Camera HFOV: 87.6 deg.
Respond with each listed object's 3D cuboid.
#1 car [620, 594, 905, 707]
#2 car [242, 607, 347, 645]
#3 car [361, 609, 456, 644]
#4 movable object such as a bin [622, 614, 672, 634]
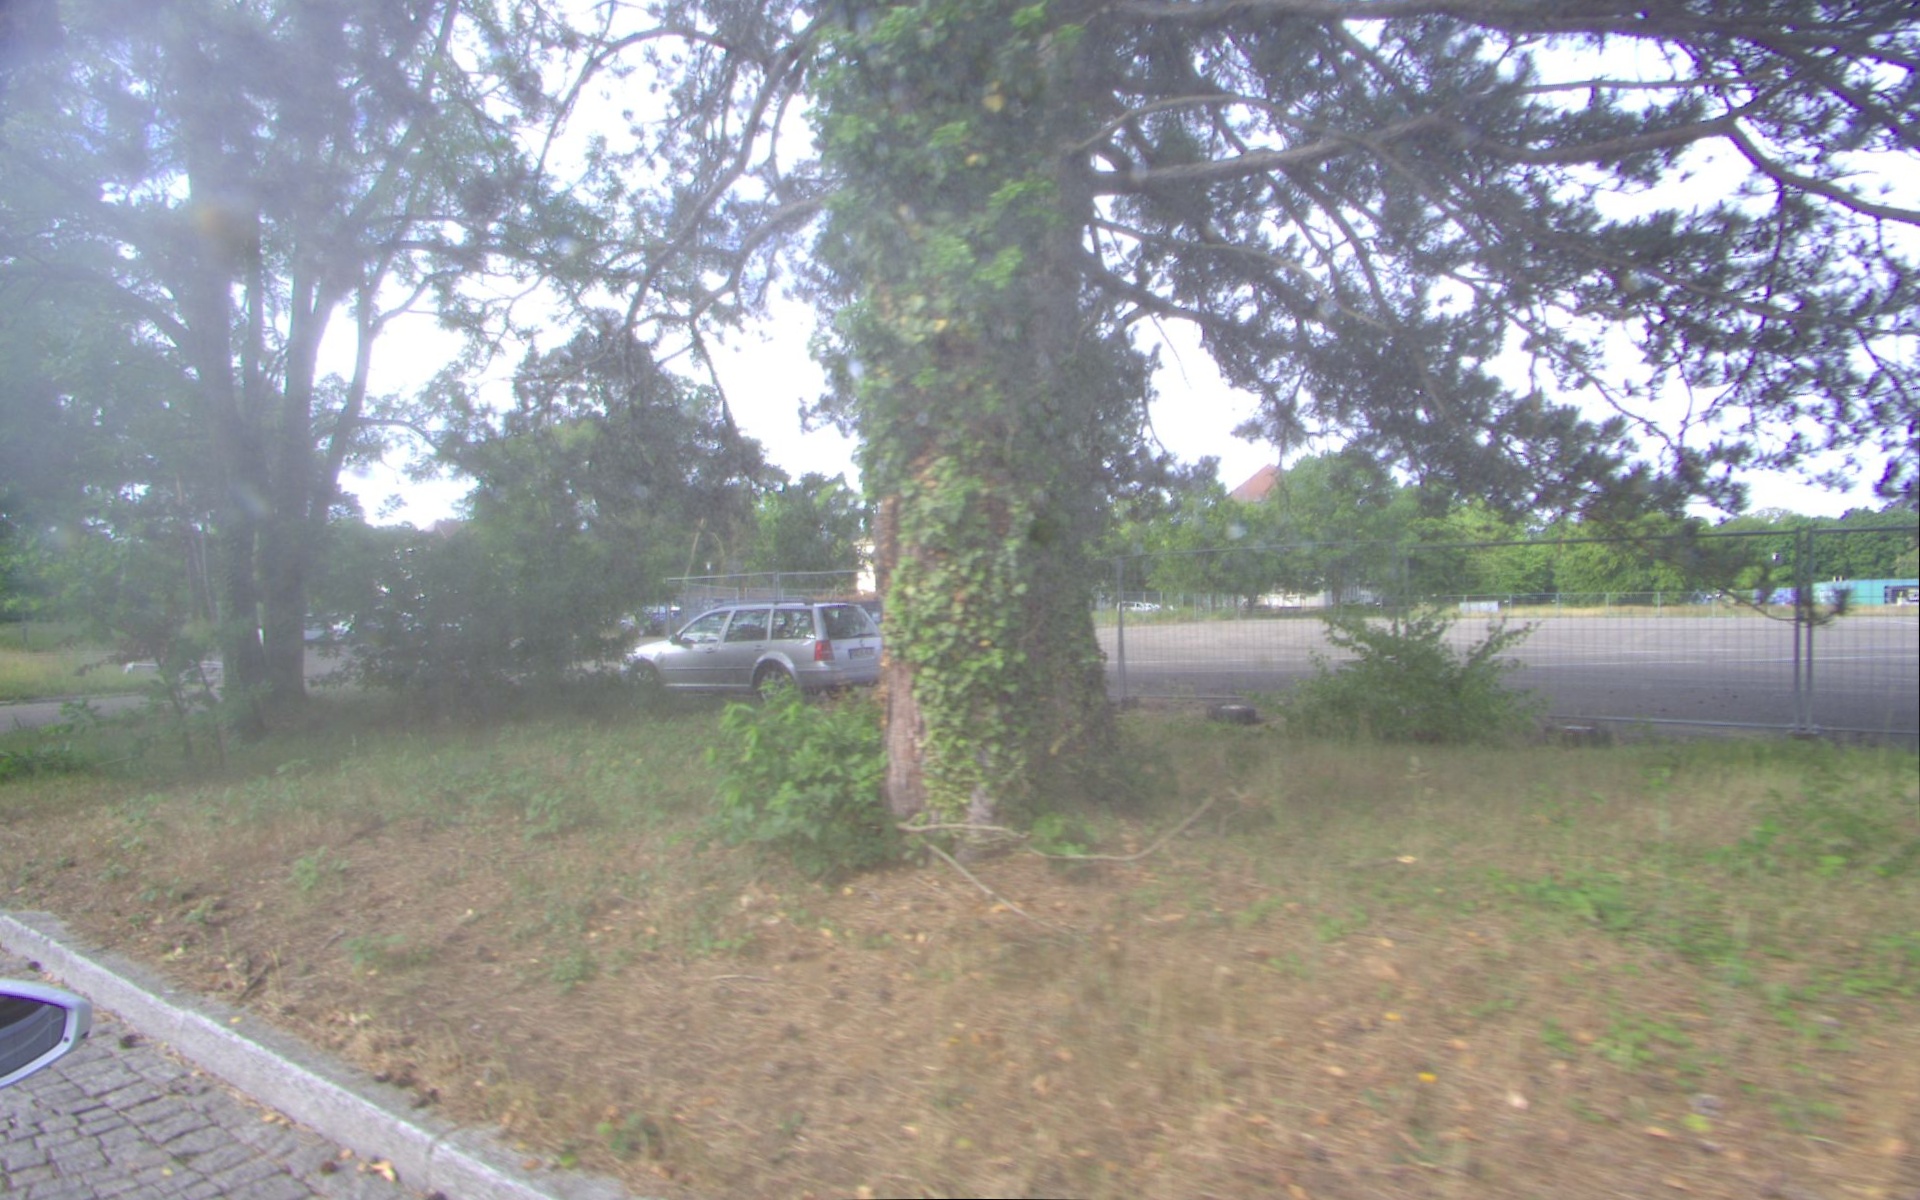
[{"bbox_3d":[-2.926,0.712,14.574,4.014,1.444,1.644,-1,-3,31],"label":"car"},{"bbox_3d":[-28.751,1.130,43.259,4.359,1.500,1.991,-2,-1,29],"label":"car"},{"bbox_3d":[-26.394,1.264,47.900,4.359,1.500,1.991,-2,-1,29],"label":"car"},{"bbox_3d":[-13.806,1.069,44.175,1.928,0.836,1.181,-1,0,37],"label":"movable object such as a bin"}]
